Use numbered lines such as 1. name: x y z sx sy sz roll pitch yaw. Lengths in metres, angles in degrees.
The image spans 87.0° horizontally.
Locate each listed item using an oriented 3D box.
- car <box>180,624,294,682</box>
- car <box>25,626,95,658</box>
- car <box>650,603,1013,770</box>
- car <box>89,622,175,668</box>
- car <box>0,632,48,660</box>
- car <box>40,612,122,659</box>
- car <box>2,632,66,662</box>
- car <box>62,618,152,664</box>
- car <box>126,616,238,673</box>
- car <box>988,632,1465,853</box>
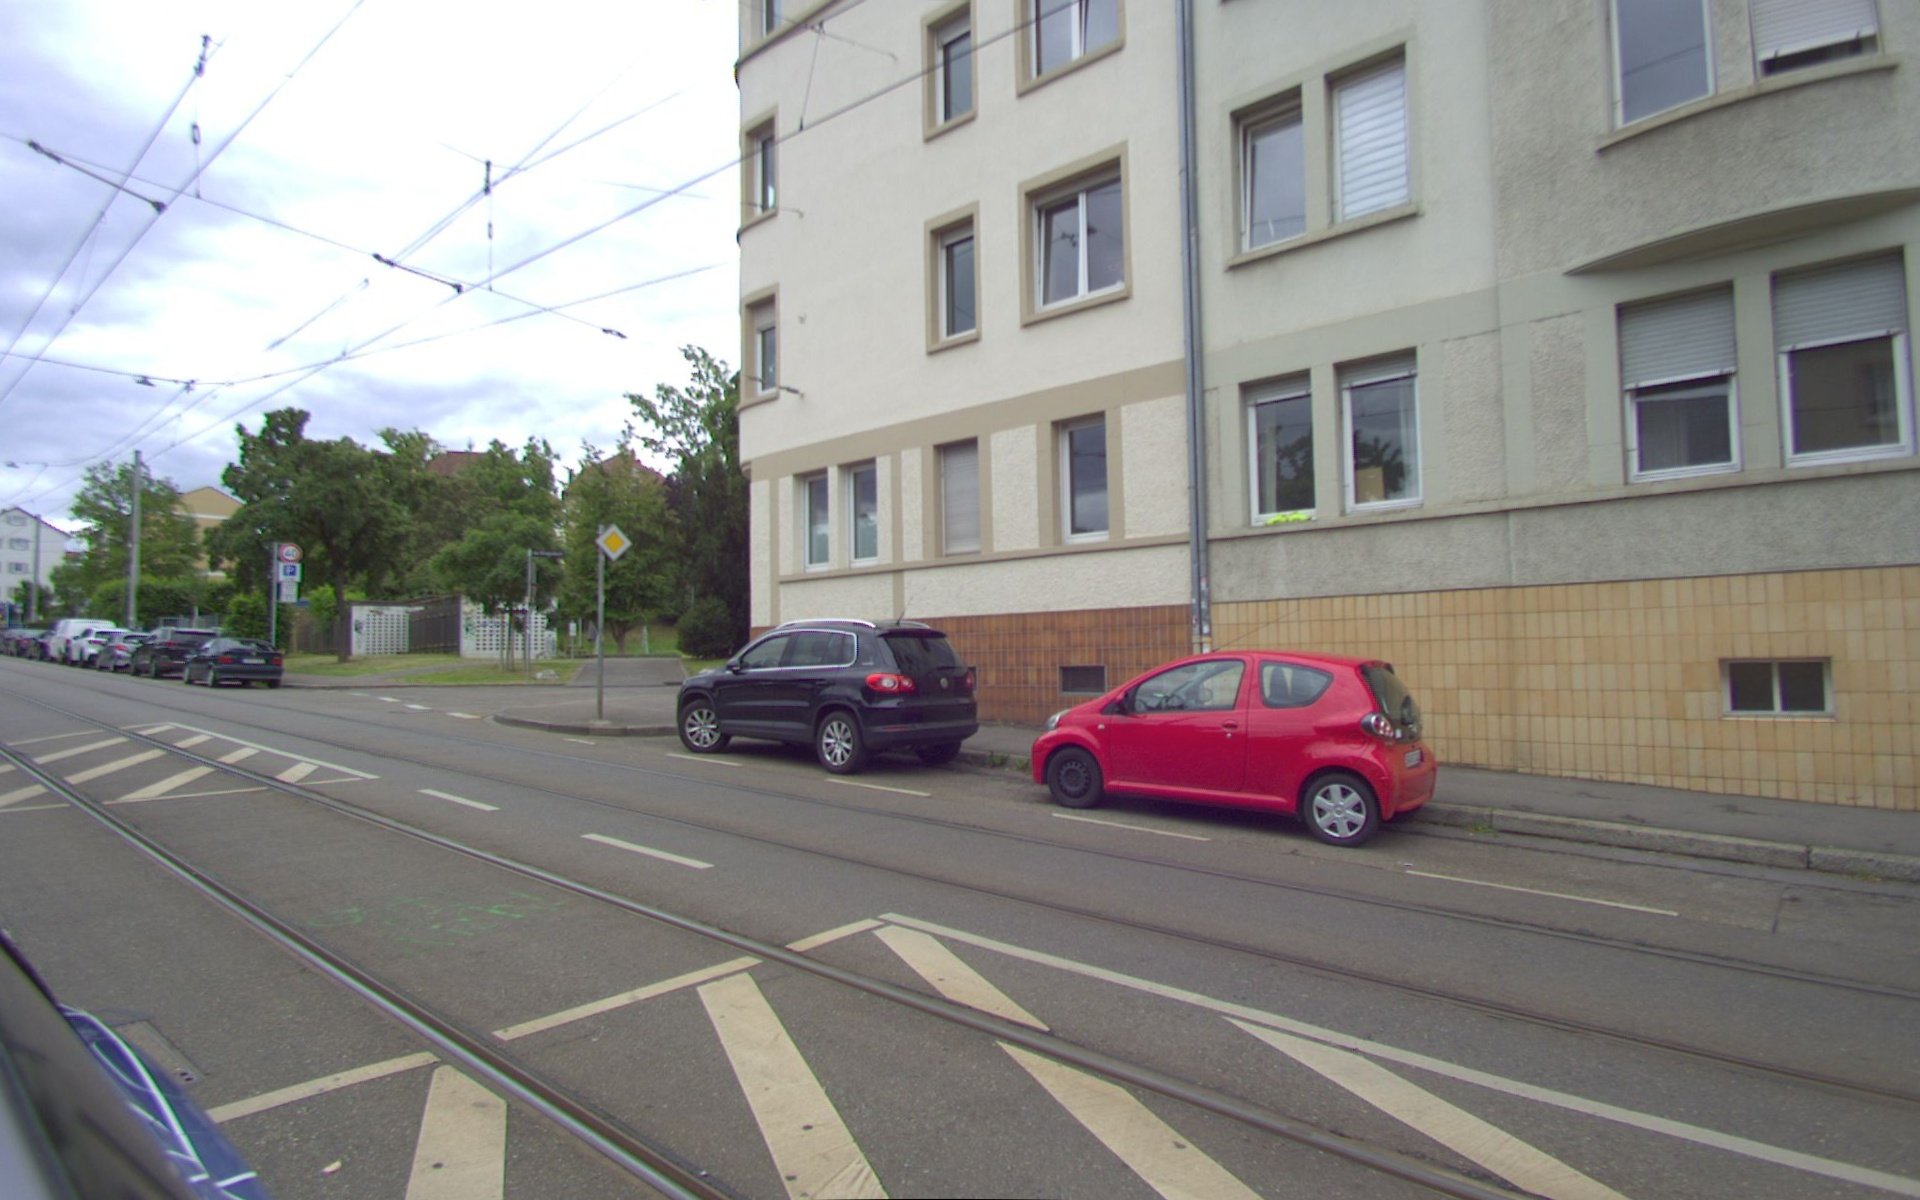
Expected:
1. car: -20.746 1.480 28.979 4.153 1.489 1.604 0 -3 40
2. car: -43.008 1.984 48.346 4.514 1.397 1.821 0 -3 40
3. car: -1.686 0.917 12.303 4.399 1.658 1.848 0 -3 40
4. car: -30.422 1.637 37.155 3.866 1.520 1.720 0 -3 40
5. car: -52.598 2.560 56.568 4.158 1.415 1.772 0 -3 40
6. car: -38.913 1.559 44.760 4.731 1.927 1.949 0 -3 40
7. car: -48.109 2.414 52.551 4.437 1.397 1.821 0 -3 40
8. car: -34.298 1.642 40.662 4.629 1.699 1.949 0 -3 40
9. car: -25.632 1.452 33.313 4.441 1.699 1.949 0 -3 40
10. car: 2.243 1.082 8.926 3.739 1.474 1.605 0 -3 37
